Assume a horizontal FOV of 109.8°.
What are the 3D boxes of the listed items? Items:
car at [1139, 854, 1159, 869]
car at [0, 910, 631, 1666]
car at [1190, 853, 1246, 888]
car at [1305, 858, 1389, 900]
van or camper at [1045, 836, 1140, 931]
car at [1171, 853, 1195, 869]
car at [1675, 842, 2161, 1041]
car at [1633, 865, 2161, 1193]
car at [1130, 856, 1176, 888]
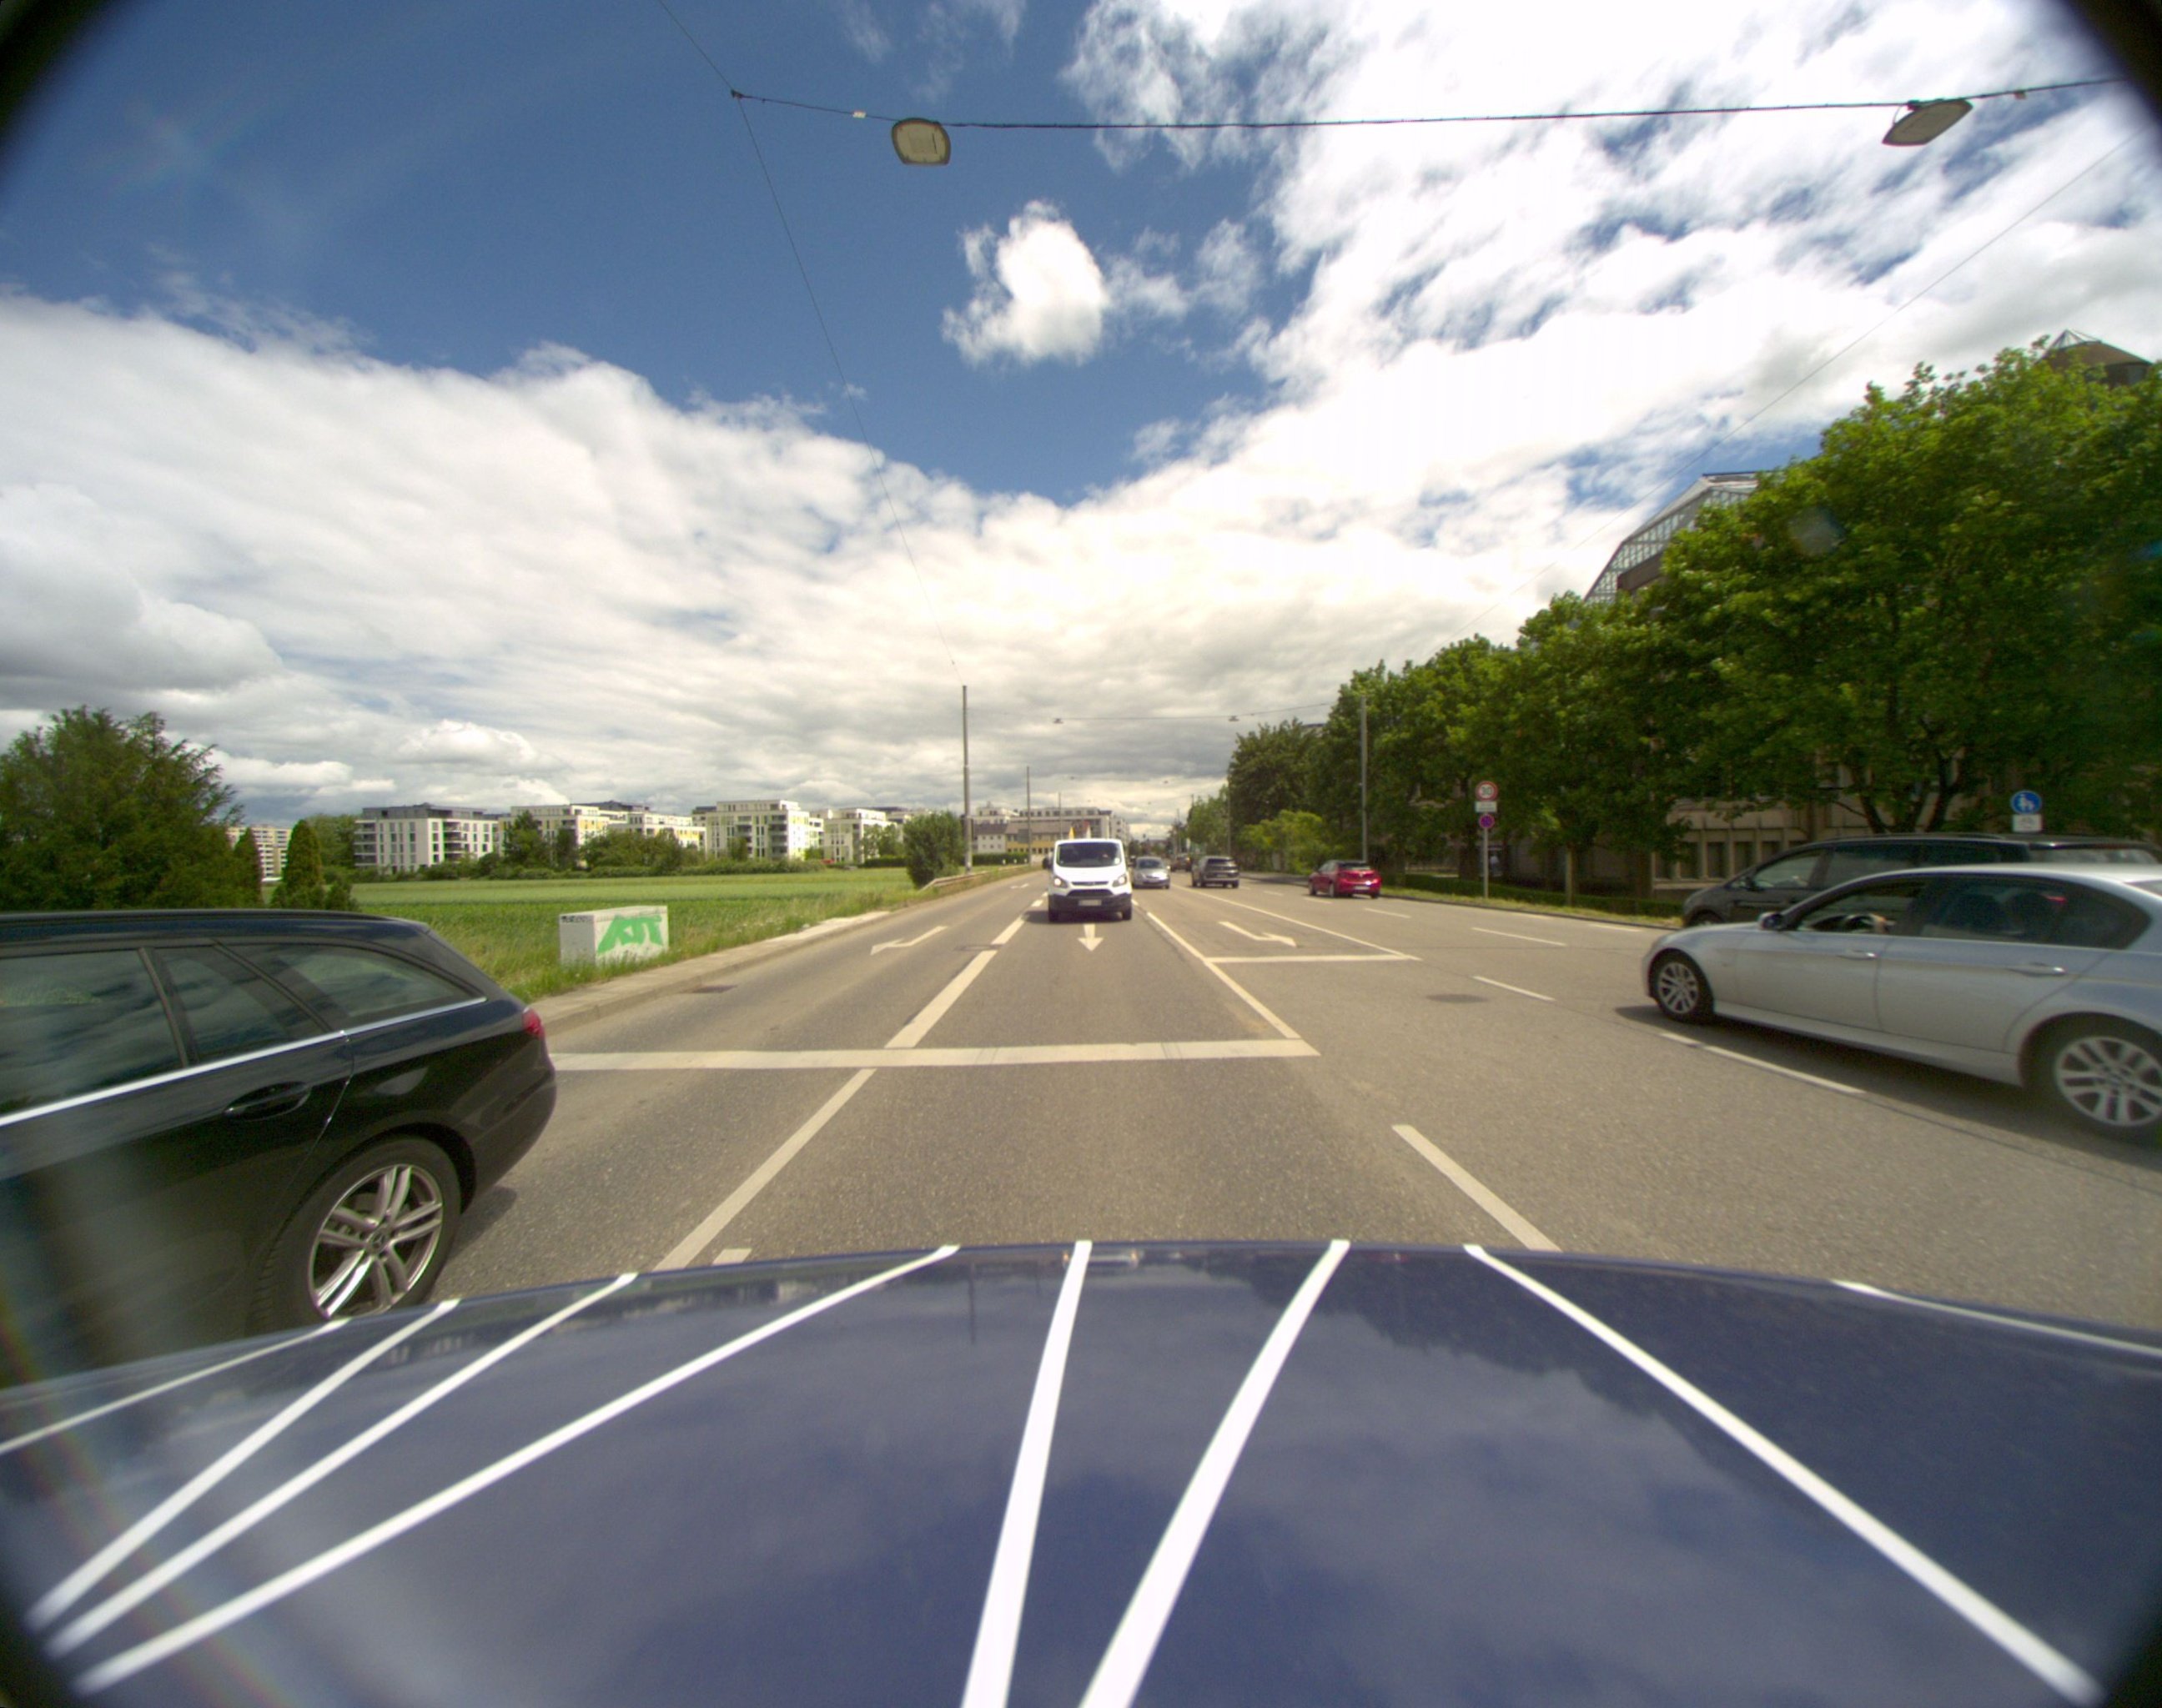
[{"bbox_3d":[7.174,0.768,80.193,1.800,1.445,4.000,0,0,0],"label":"car"},{"bbox_3d":[-3.243,1.023,1.245,1.877,1.432,5.199,-1,0,0],"label":"car"},{"bbox_3d":[6.823,0.791,38.252,1.998,1.608,4.306,-1,0,0],"label":"car"},{"bbox_3d":[10.044,0.902,28.992,1.784,1.407,3.999,0,0,0],"label":"car"},{"bbox_3d":[0.266,0.629,19.169,1.998,2.002,5.799,-1,0,0],"label":"van or camper"},{"bbox_3d":[10.236,0.679,76.599,1.897,1.587,4.000,0,0,1],"label":"car"},{"bbox_3d":[9.724,0.743,8.879,1.998,1.692,4.761,-1,0,3],"label":"car"},{"bbox_3d":[5.961,0.845,4.779,1.796,1.439,4.422,-1,0,1],"label":"car"},{"bbox_3d":[3.427,0.837,36.858,1.894,1.433,4.000,-1,0,1],"label":"car"}]
